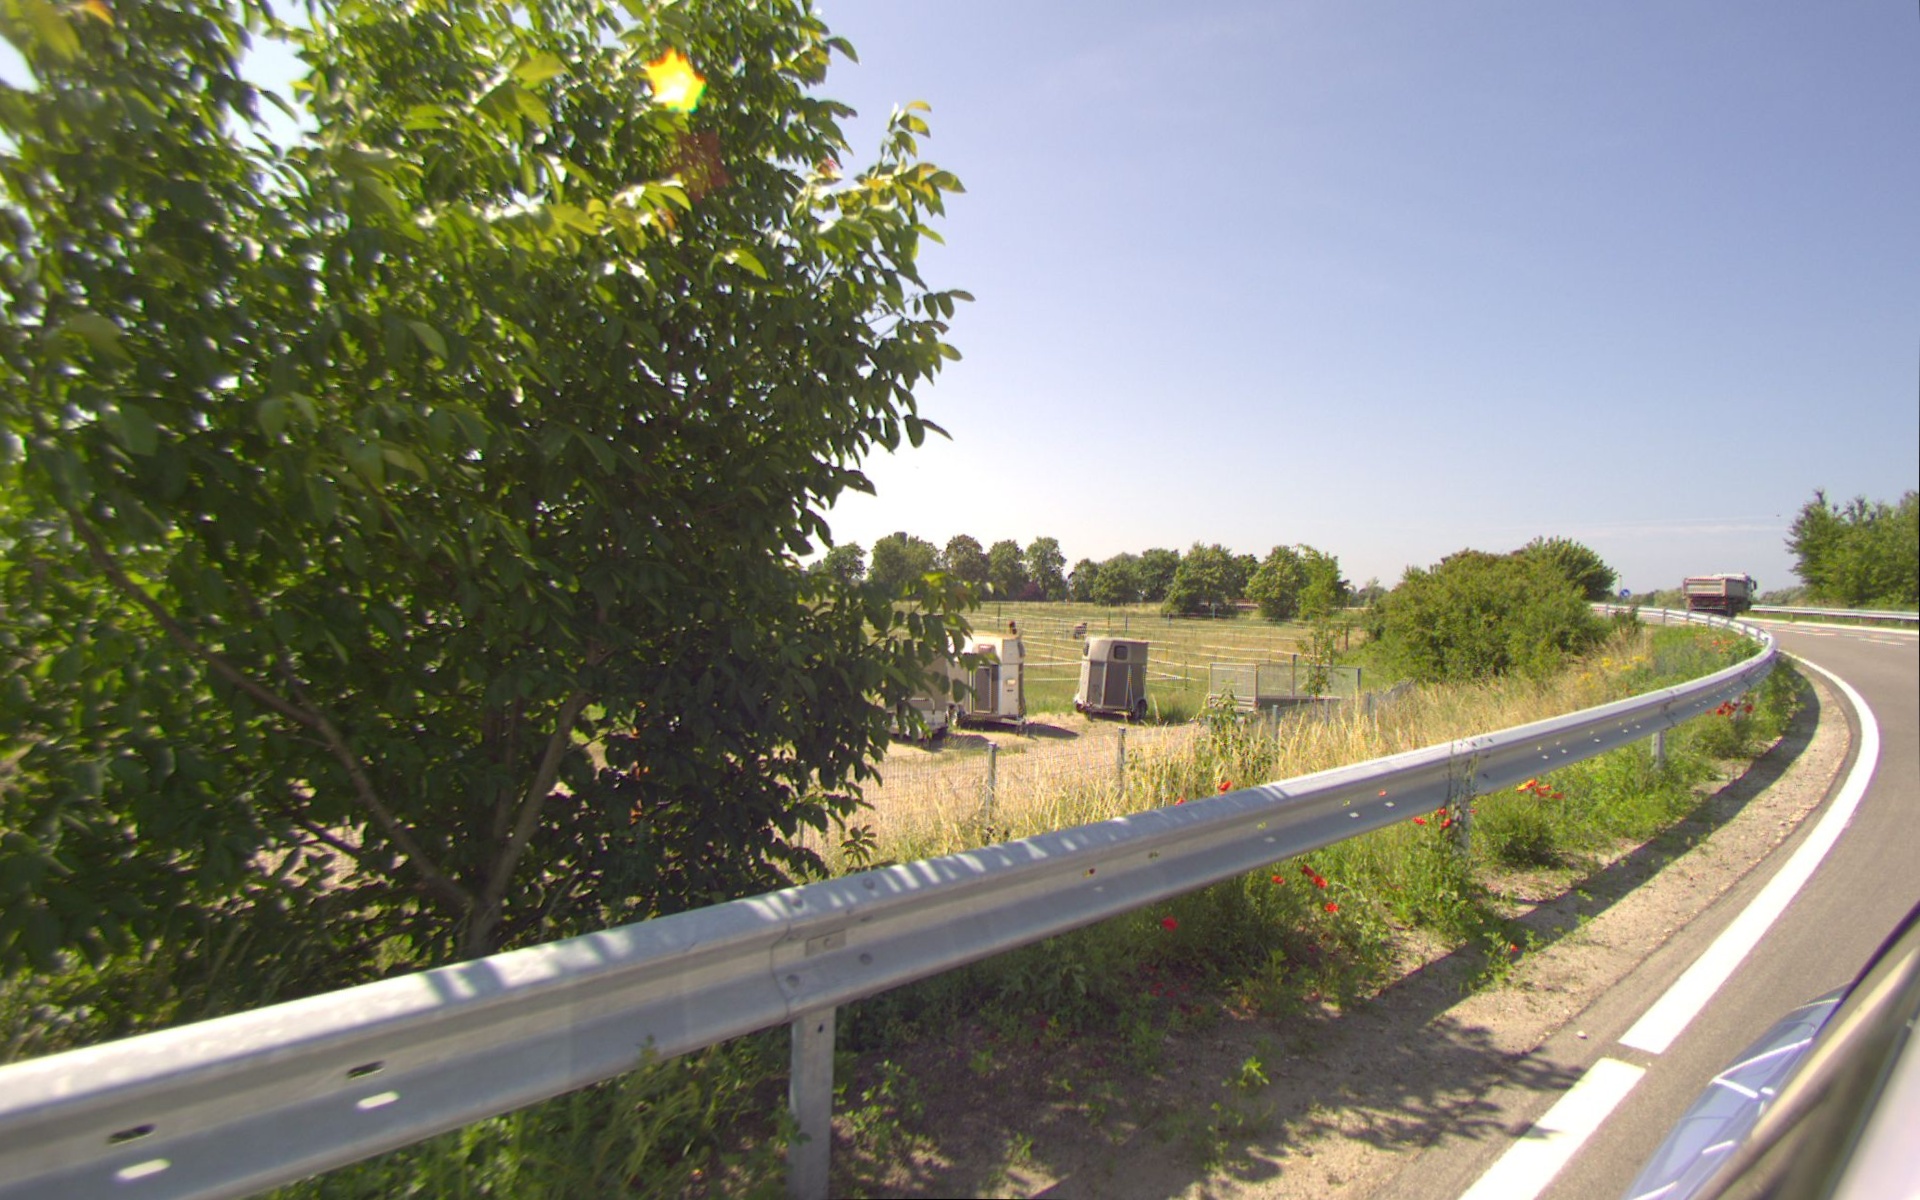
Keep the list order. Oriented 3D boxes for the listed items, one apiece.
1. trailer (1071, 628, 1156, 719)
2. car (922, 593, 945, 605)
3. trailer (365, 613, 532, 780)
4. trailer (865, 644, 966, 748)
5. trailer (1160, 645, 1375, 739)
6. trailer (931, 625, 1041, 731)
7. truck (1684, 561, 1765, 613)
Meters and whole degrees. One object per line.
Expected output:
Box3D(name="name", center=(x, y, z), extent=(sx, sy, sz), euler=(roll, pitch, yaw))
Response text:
Box3D(name="trailer", center=(5.309, 2.469, 34.733), extent=(1.979, 2.841, 3.349), euler=(3, -1, 24))
Box3D(name="car", center=(-4.813, -0.170, 185.054), extent=(4.207, 2.039, 2.002), euler=(0, 1, -3))
Box3D(name="trailer", center=(-9.926, 1.721, 20.112), extent=(2.162, 2.722, 5.200), euler=(2, 0, -19))
Box3D(name="trailer", center=(-1.263, 2.423, 26.666), extent=(1.965, 2.422, 4.100), euler=(1, -2, -12))
Box3D(name="trailer", center=(9.297, 2.679, 30.612), extent=(5.925, 2.410, 2.586), euler=(0, 0, -23))
Box3D(name="trailer", center=(0.711, 2.234, 30.307), extent=(2.119, 2.840, 3.428), euler=(1, 0, -21))
Box3D(name="truck", center=(55.673, -0.980, 73.637), extent=(8.044, 3.583, 2.823), euler=(-1, 1, -38))
